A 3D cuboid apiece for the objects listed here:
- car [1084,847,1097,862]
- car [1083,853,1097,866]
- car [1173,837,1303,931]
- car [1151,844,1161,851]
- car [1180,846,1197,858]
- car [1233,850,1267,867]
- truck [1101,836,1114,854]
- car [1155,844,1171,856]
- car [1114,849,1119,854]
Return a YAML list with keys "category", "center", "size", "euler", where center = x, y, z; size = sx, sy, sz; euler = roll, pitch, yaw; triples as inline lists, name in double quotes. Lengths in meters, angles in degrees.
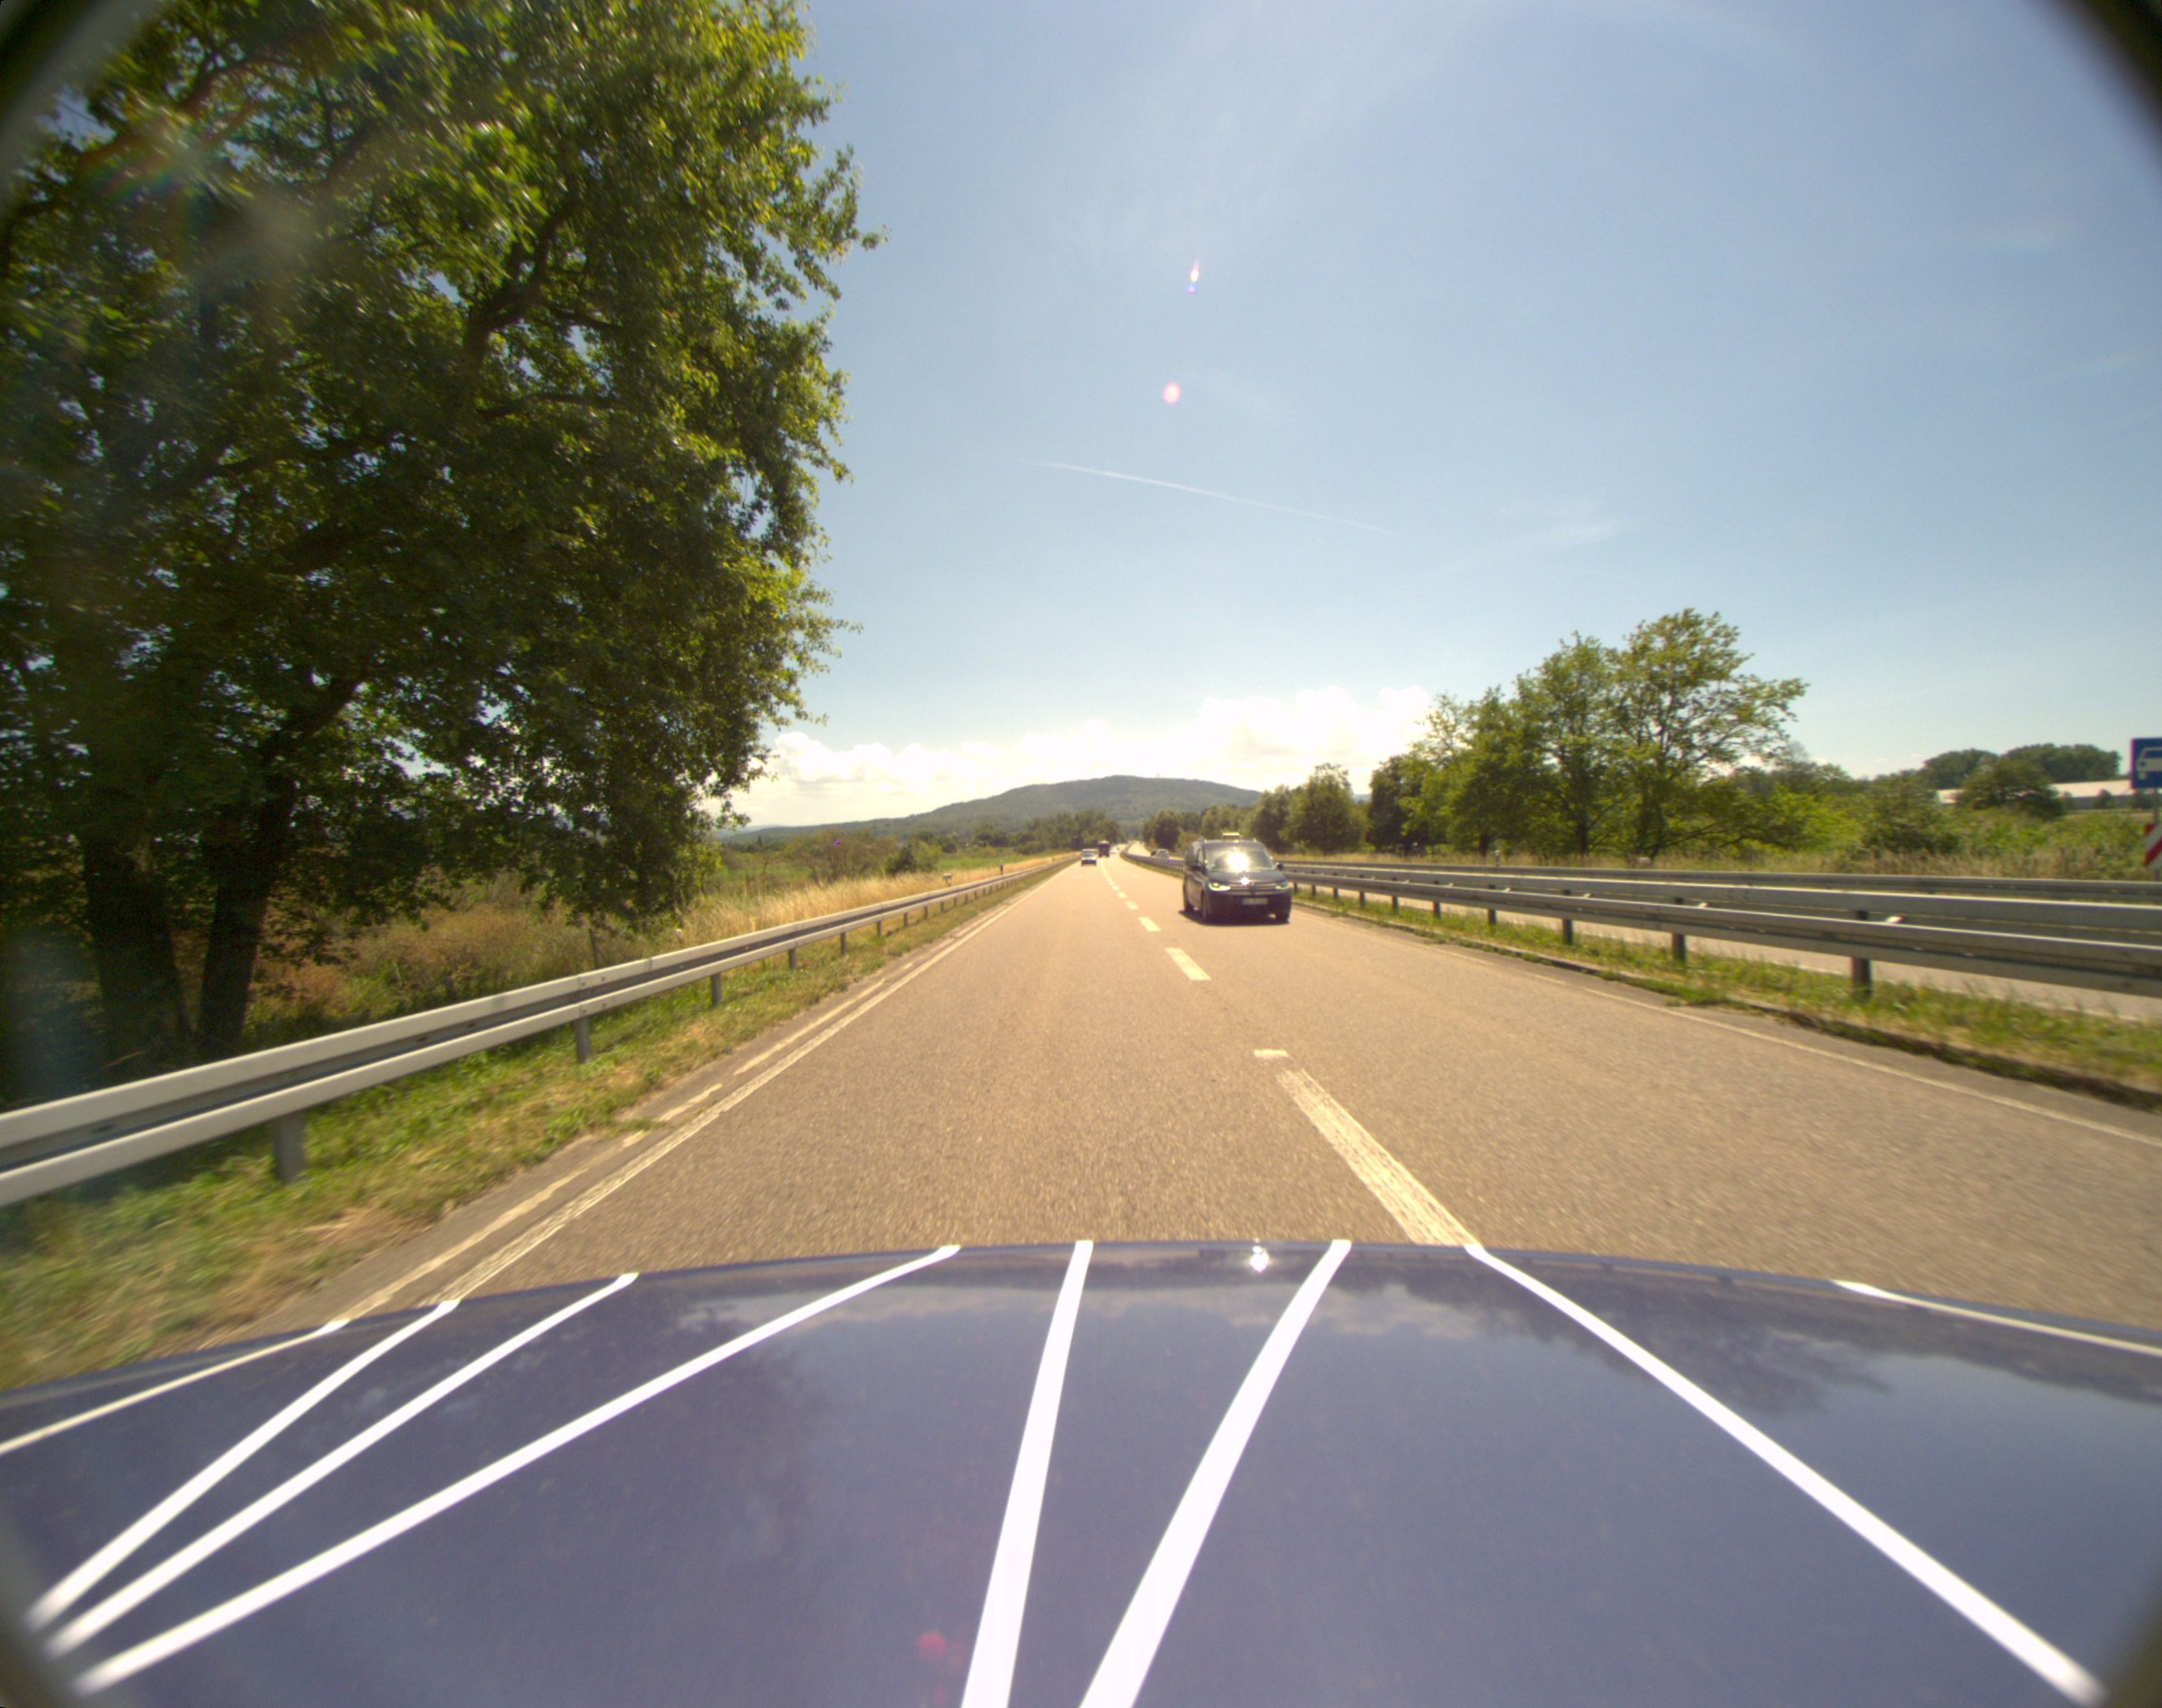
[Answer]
- category: "car"
  center: [1.406, 0.032, 111.061]
  size: [1.619, 2.085, 3.486]
  euler: [-1, 1, 3]
- category: "car"
  center: [1.097, 0.633, 90.789]
  size: [1.577, 1.387, 3.486]
  euler: [-1, 1, 3]
- category: "car"
  center: [3.492, 0.599, 18.087]
  size: [1.859, 1.876, 5.572]
  euler: [-1, 0, -1]
- category: "car"
  center: [18.113, -1.468, 183.421]
  size: [1.998, 1.599, 4.962]
  euler: [-1, 0, 0]
- category: "car"
  center: [15.362, -0.301, 108.718]
  size: [1.847, 1.608, 4.171]
  euler: [-1, 0, 1]
- category: "car"
  center: [14.156, 0.361, 63.793]
  size: [1.929, 1.377, 4.658]
  euler: [-1, 0, 1]
- category: "truck"
  center: [6.322, -2.092, 182.021]
  size: [2.826, 4.143, 9.949]
  euler: [-1, 1, 3]
- category: "car"
  center: [12.591, -0.564, 117.201]
  size: [1.984, 1.797, 4.968]
  euler: [-1, 0, 1]
- category: "car"
  center: [11.195, -0.809, 241.349]
  size: [1.619, 1.545, 3.486]
  euler: [-1, 1, 3]
